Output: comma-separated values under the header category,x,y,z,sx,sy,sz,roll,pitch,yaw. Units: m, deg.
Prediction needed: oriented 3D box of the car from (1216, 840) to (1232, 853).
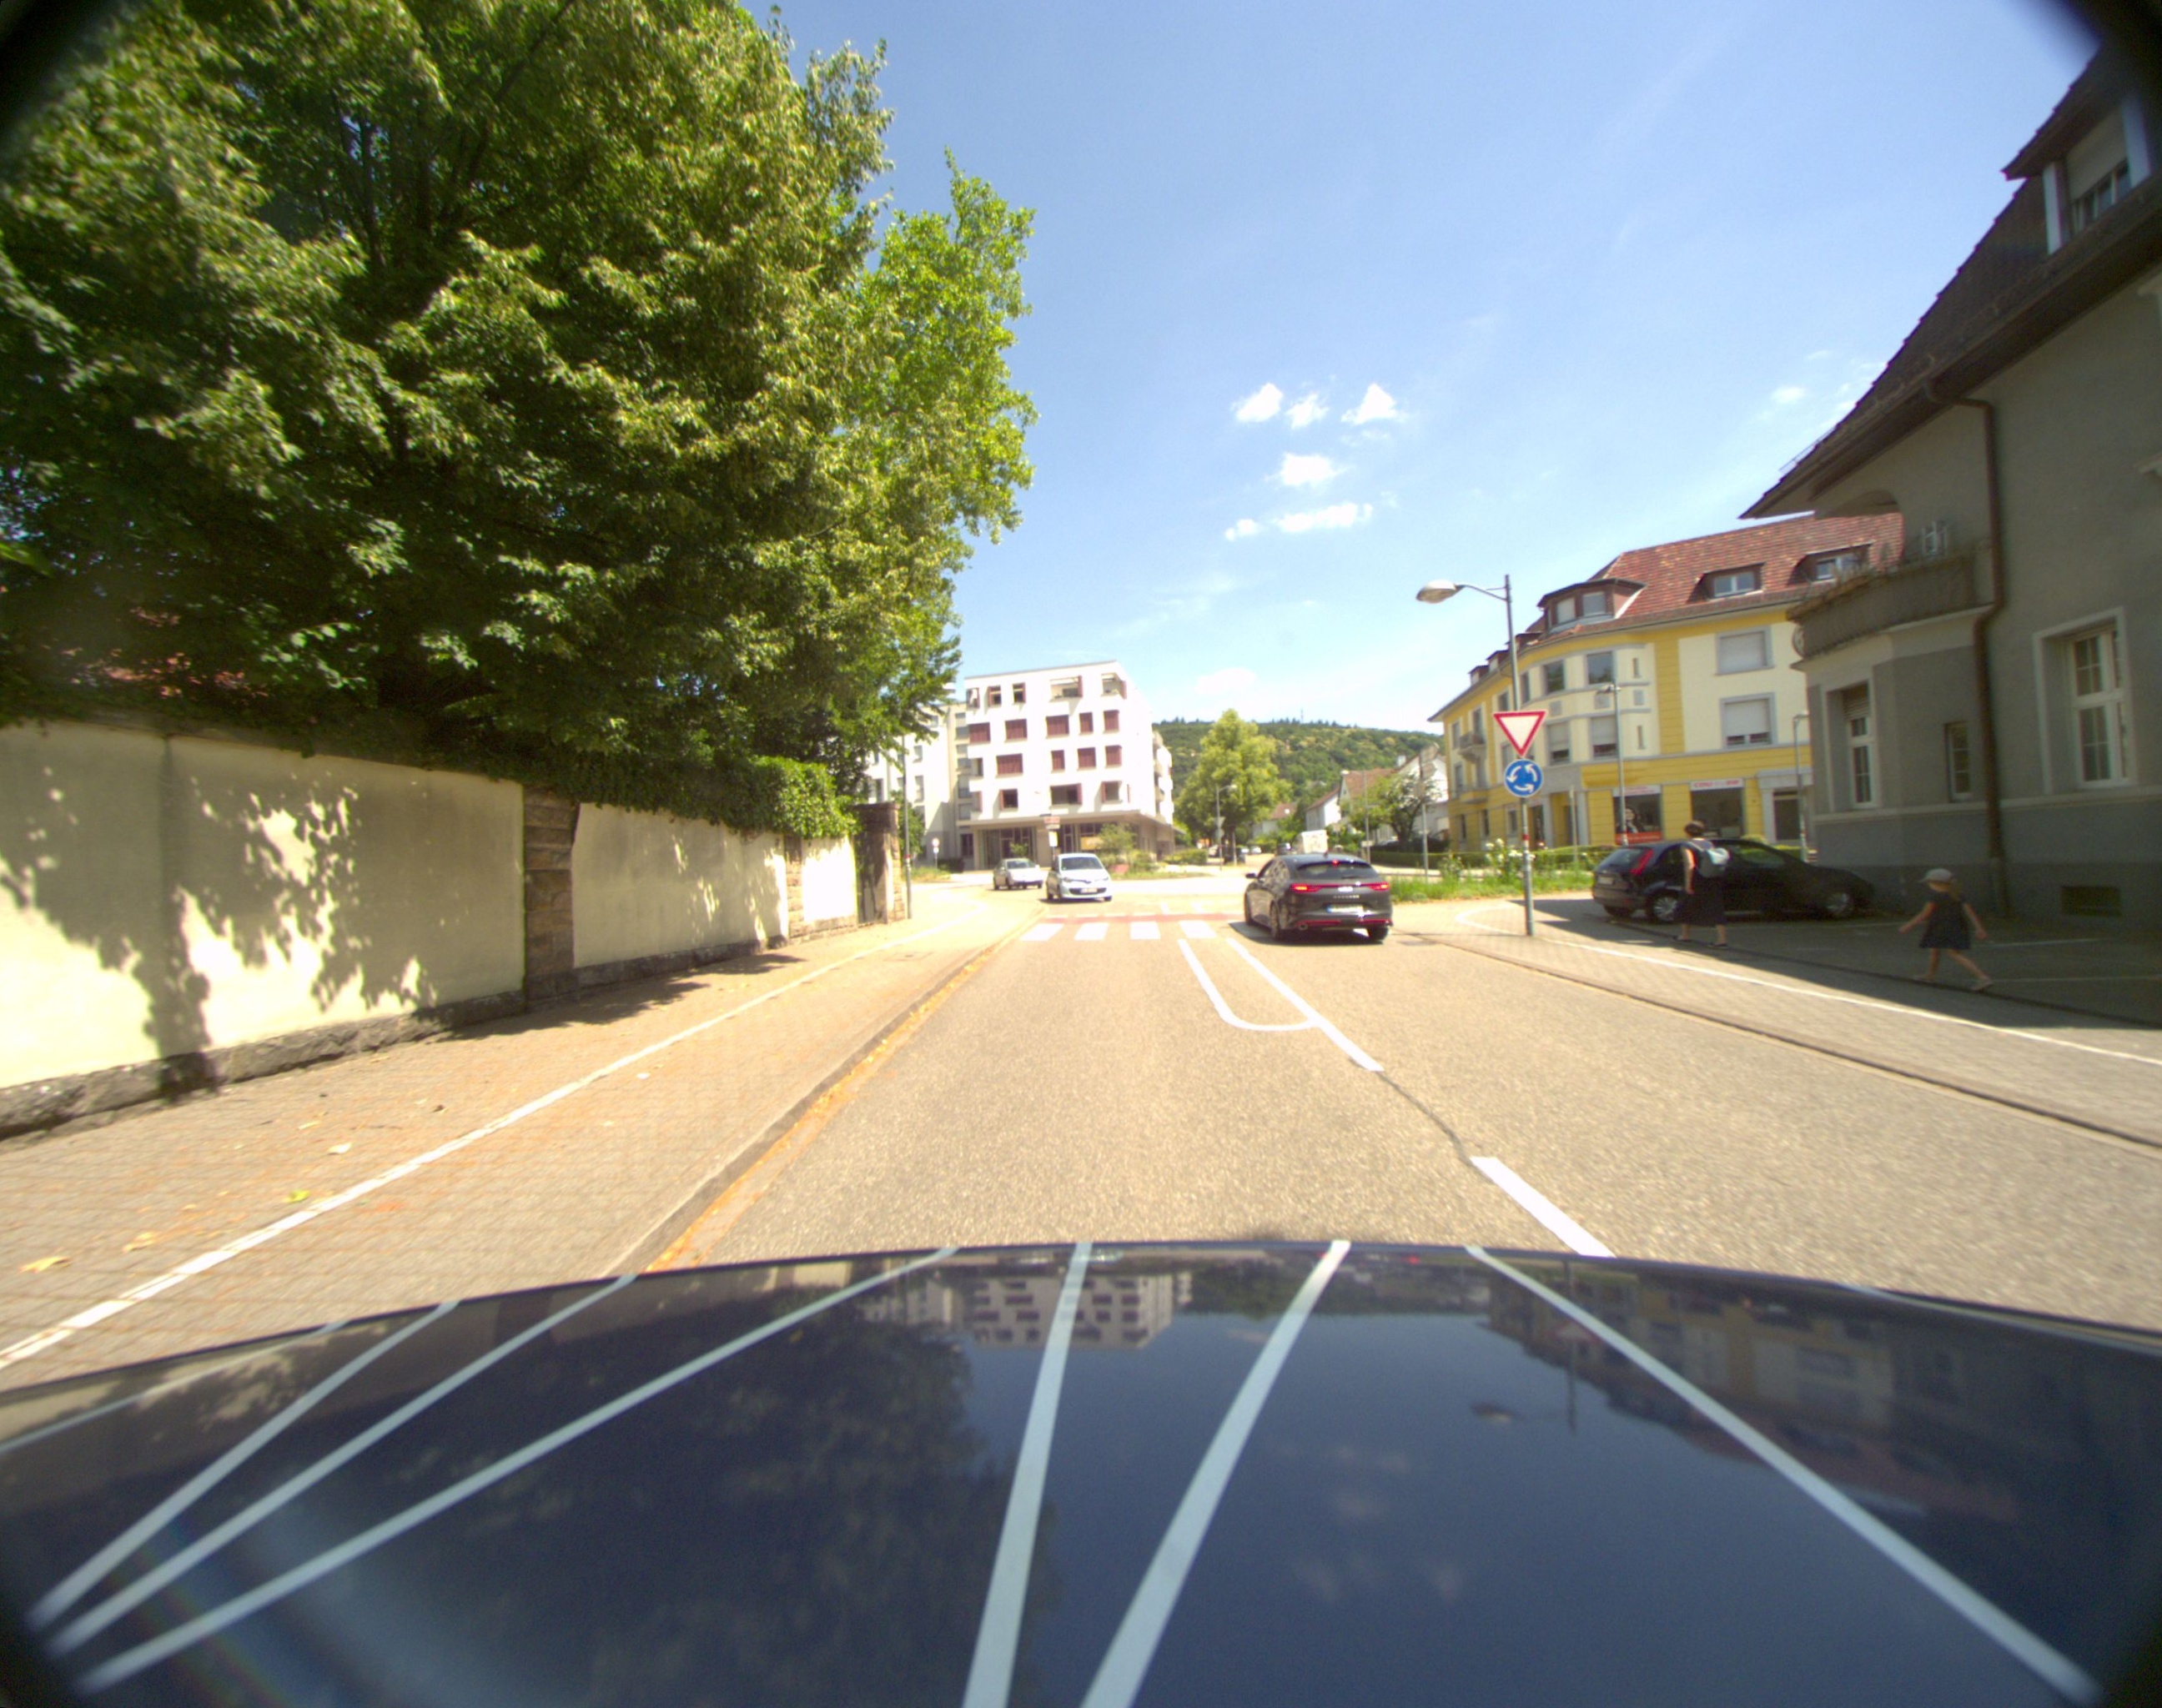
category,x,y,z,sx,sy,sz,roll,pitch,yaw
car,20.011,-1.112,106.430,1.997,1.657,4.001,-3,2,8

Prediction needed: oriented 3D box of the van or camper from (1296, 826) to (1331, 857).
category,x,y,z,sx,sy,sz,roll,pitch,yaw
van or camper,22.128,-1.194,72.585,2.271,2.623,5.889,-6,0,10

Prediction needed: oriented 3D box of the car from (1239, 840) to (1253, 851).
category,x,y,z,sx,sy,sz,roll,pitch,yaw
car,30.030,-1.556,138.338,1.997,1.657,4.001,-3,2,8

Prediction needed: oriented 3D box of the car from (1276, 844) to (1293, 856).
category,x,y,z,sx,sy,sz,roll,pitch,yaw
car,25.999,-0.529,97.120,1.754,1.496,3.995,-3,0,11

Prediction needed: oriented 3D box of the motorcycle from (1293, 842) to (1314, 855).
category,x,y,z,sx,sy,sz,roll,pitch,yaw
motorcycle,22.909,-0.576,78.126,2.237,1.312,0.738,-3,1,-33

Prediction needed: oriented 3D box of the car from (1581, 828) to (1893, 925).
category,x,y,z,sx,sy,sz,roll,pitch,yaw
car,11.347,0.387,13.415,3.787,1.452,1.725,-3,1,10

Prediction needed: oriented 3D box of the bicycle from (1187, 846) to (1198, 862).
category,x,y,z,sx,sy,sz,roll,pitch,yaw
bicycle,9.785,0.005,66.625,0.569,1.370,1.750,-2,1,19

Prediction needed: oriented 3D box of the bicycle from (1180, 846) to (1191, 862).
category,x,y,z,sx,sy,sz,roll,pitch,yaw
bicycle,9.160,0.005,66.842,0.569,1.370,1.750,-2,1,19

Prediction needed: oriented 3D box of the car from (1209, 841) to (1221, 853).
category,x,y,z,sx,sy,sz,roll,pitch,yaw
car,21.932,-1.190,124.624,1.764,1.740,4.003,-3,1,11

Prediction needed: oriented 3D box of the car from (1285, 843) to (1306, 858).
category,x,y,z,sx,sy,sz,roll,pitch,yaw
car,23.213,-0.446,82.318,1.754,1.496,3.995,-3,0,11

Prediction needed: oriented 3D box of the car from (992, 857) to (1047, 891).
category,x,y,z,sx,sy,sz,roll,pitch,yaw
car,-2.960,0.904,35.768,1.609,1.443,3.994,-3,1,-18

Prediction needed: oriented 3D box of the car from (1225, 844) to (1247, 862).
category,x,y,z,sx,sy,sz,roll,pitch,yaw
car,14.143,-0.135,69.548,1.754,1.496,3.995,-3,0,9

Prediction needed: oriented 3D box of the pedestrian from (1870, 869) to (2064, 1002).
category,x,y,z,sx,sy,sz,roll,pitch,yaw
pedestrian,8.216,0.726,7.098,0.755,1.115,0.897,-3,1,6

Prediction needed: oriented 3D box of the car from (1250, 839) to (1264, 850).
category,x,y,z,sx,sy,sz,roll,pitch,yaw
car,29.372,-1.535,126.790,1.997,1.657,4.001,-3,2,8

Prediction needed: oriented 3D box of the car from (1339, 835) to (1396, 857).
category,x,y,z,sx,sy,sz,roll,pitch,yaw
car,23.653,-0.629,62.884,3.990,1.577,1.756,-3,0,-3

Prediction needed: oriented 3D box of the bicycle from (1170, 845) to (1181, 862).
category,x,y,z,sx,sy,sz,roll,pitch,yaw
bicycle,8.355,-0.057,67.057,0.569,1.370,1.750,-2,1,19

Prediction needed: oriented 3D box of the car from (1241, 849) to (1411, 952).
category,x,y,z,sx,sy,sz,roll,pitch,yaw
car,4.067,0.675,13.393,1.773,1.418,4.393,-3,1,3

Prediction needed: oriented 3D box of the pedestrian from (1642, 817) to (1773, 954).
category,x,y,z,sx,sy,sz,roll,pitch,yaw
pedestrian,8.500,0.400,10.364,0.873,1.732,1.113,-3,1,6

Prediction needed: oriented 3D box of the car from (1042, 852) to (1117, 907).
category,x,y,z,sx,sy,sz,roll,pitch,yaw
car,-0.131,0.759,25.052,1.660,1.516,4.157,-4,2,-11
